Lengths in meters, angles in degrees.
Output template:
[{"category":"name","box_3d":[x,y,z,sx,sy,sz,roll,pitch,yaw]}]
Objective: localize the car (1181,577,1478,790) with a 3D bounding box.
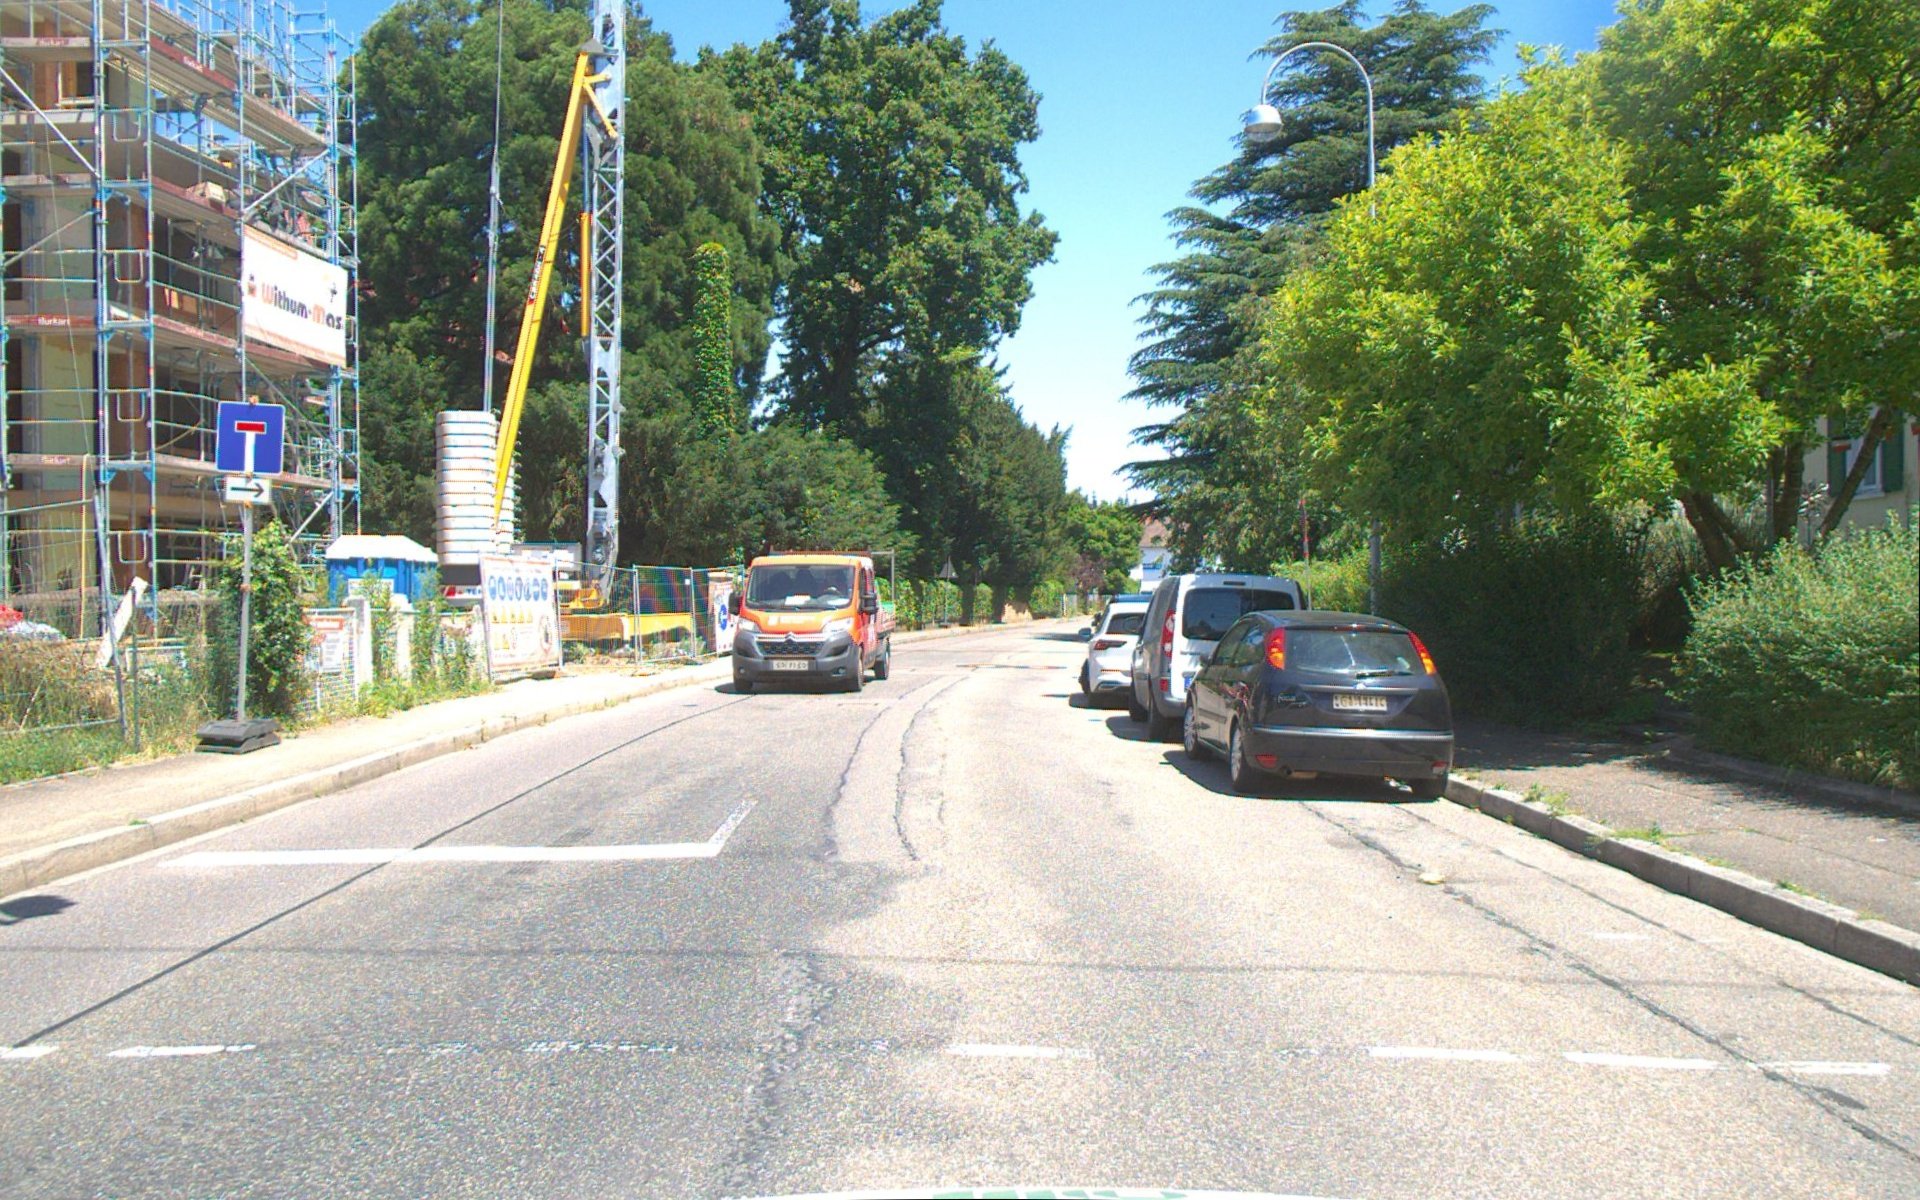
[{"category":"car","box_3d":[3.026,0.638,14.335,1.595,1.488,4.016,3,0,0]}]

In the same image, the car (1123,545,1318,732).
[{"category":"car","box_3d":[2.906,0.415,19.244,1.627,1.834,4.203,3,-1,2]}]

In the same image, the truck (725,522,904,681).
[{"category":"truck","box_3d":[-2.333,0.009,28.501,2.083,2.379,6.437,-1,0,3]}]

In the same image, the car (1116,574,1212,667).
[{"category":"car","box_3d":[3.795,0.389,31.257,1.627,1.565,4.206,2,-1,5]}]

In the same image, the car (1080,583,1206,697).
[{"category":"car","box_3d":[2.628,0.566,24.474,1.627,1.460,4.130,2,-1,4]}]
